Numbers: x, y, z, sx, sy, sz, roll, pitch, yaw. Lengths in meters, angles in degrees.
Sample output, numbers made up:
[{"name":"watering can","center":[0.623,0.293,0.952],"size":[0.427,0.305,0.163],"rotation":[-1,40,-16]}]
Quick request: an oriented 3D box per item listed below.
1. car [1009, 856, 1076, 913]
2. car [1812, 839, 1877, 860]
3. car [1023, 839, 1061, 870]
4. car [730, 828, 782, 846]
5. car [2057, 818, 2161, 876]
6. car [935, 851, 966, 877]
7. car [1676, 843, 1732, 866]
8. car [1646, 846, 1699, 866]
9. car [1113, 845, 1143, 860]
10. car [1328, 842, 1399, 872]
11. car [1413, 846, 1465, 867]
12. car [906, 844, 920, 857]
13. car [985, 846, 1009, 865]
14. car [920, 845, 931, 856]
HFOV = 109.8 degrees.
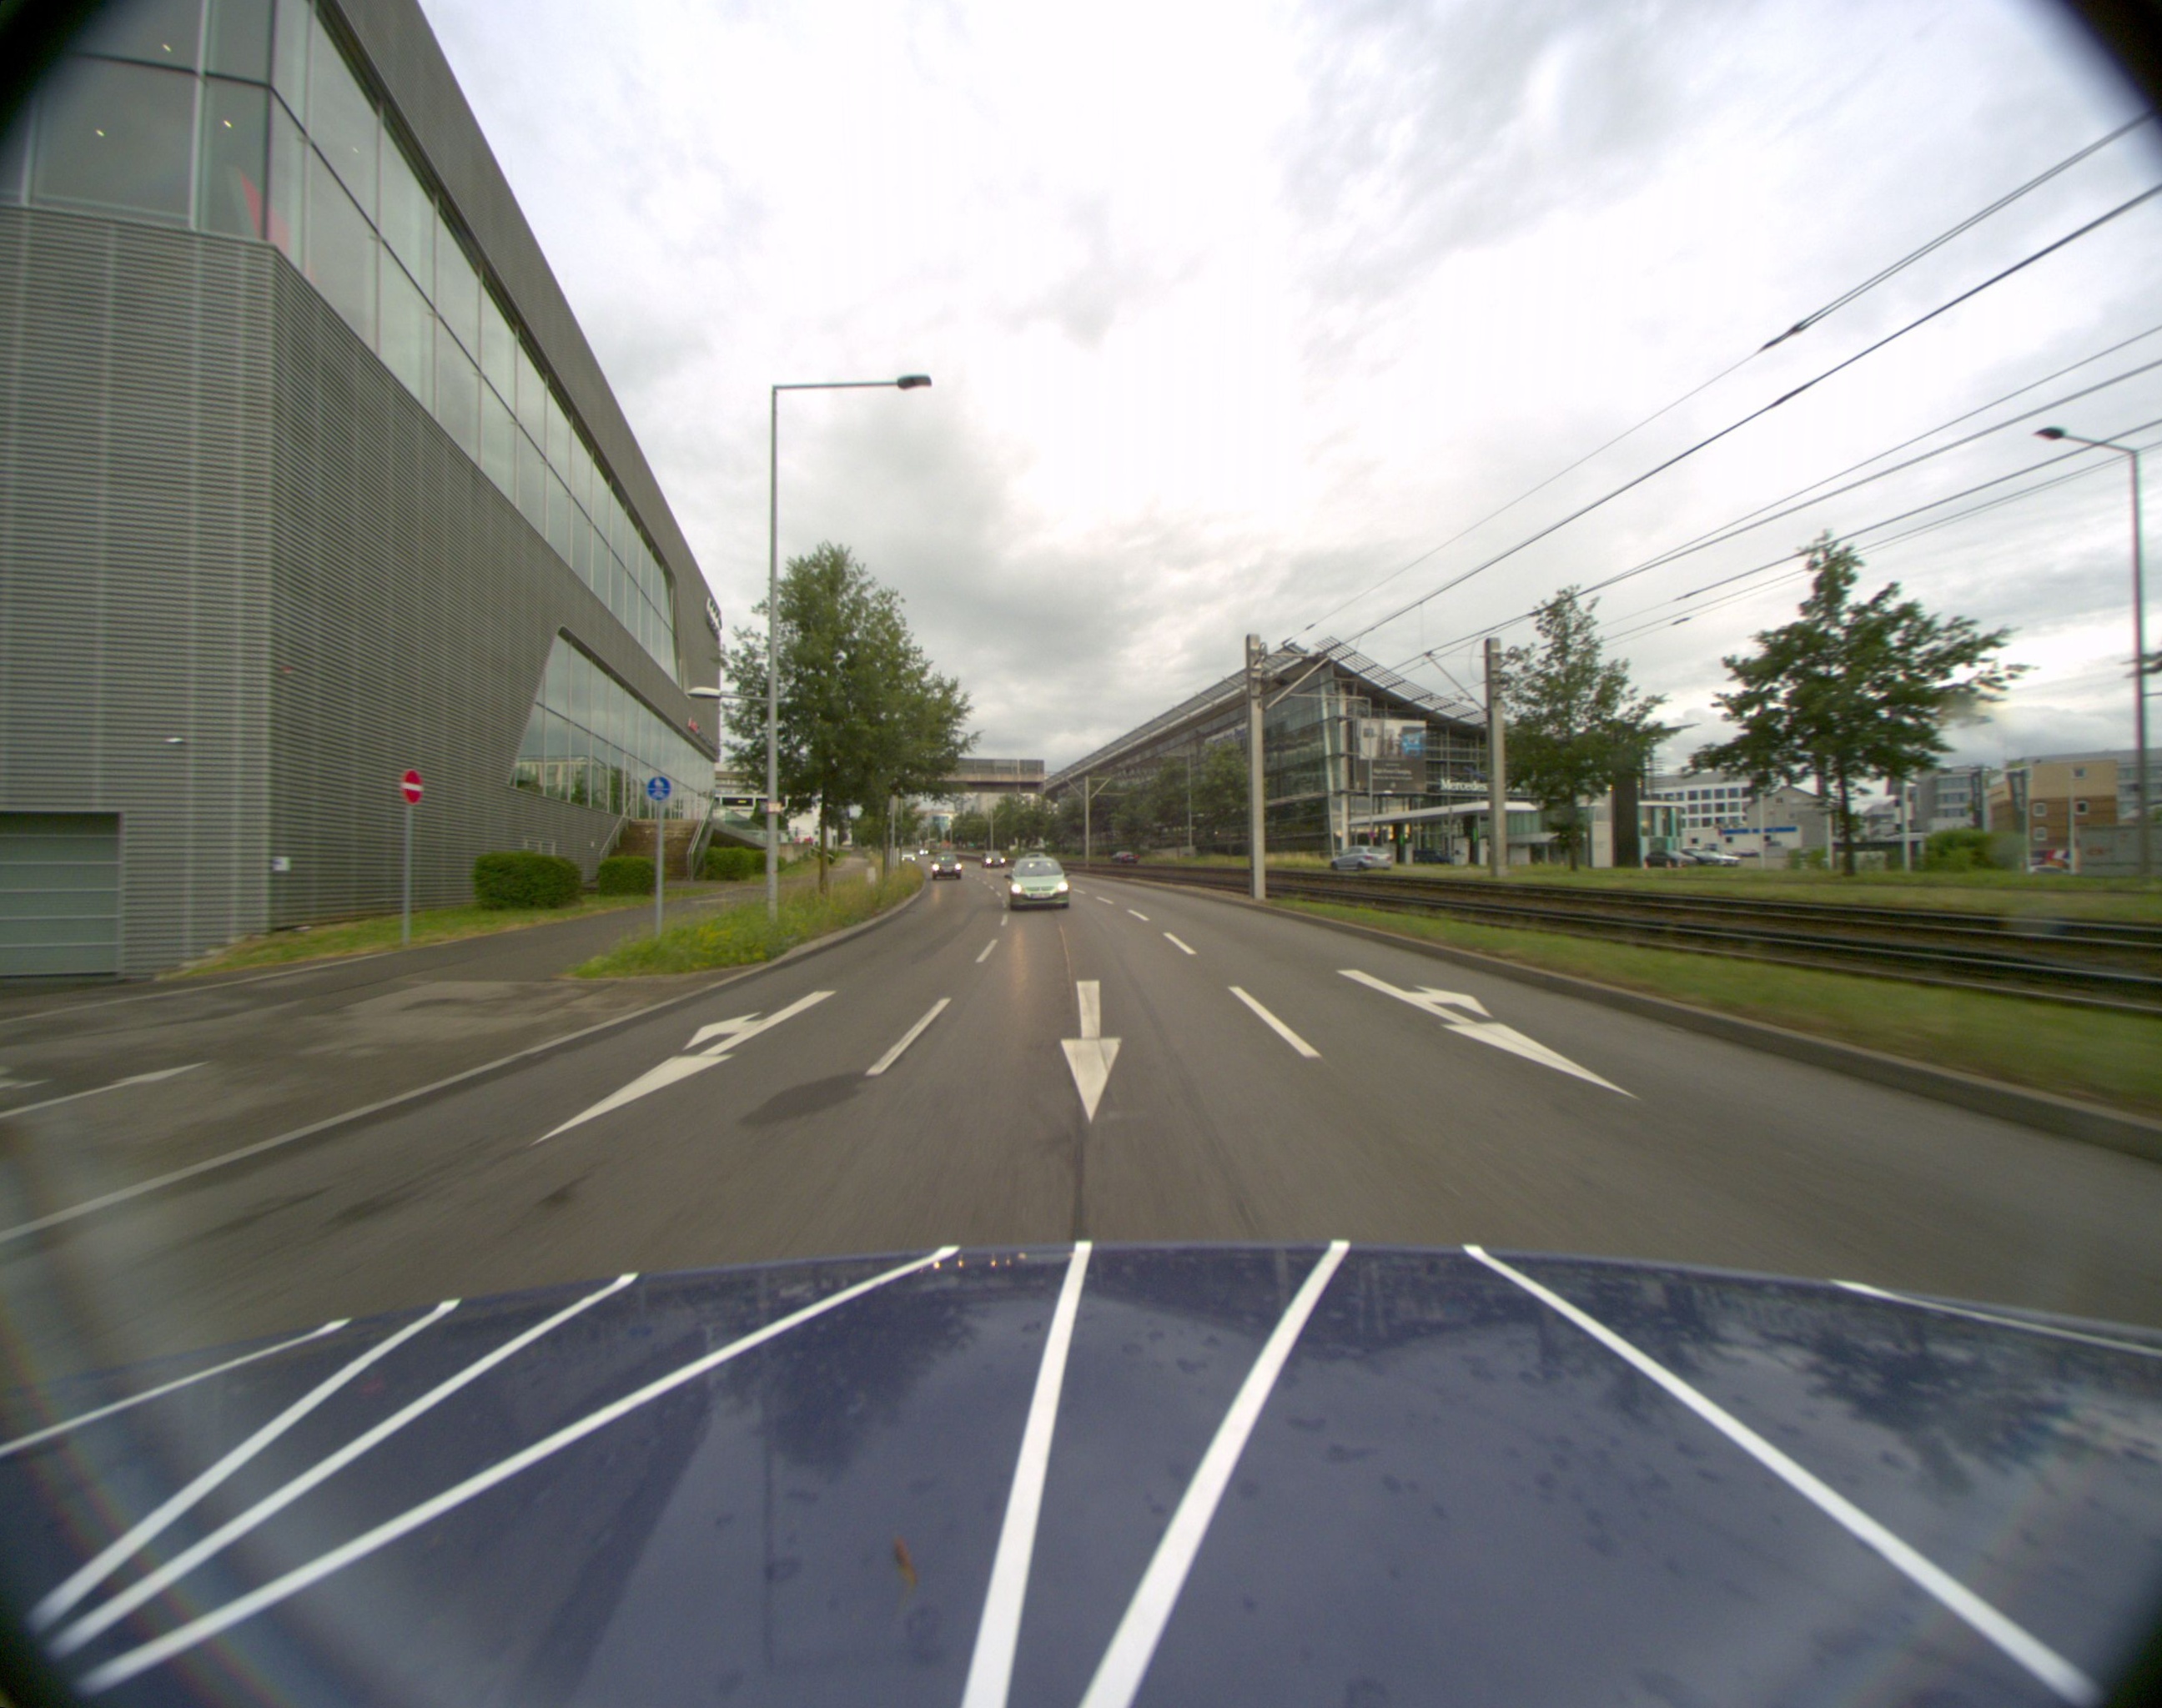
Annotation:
[{"name":"car","center":[-1.252,0.852,23.362],"size":[1.829,1.499,4.111],"rotation":[-2,1,-5]},{"name":"car","center":[67.014,-0.441,66.710],"size":[2.003,1.718,3.988],"rotation":[-5,4,-43]},{"name":"car","center":[-2.864,-0.003,54.714],"size":[2.001,2.003,3.994],"rotation":[-3,3,-13]},{"name":"car","center":[-30.330,-1.600,70.952],"size":[4.276,1.565,1.690],"rotation":[-2,1,-17]},{"name":"car","center":[32.435,-0.218,22.407],"size":[2.000,1.641,3.994],"rotation":[-2,2,-11]},{"name":"car","center":[-8.451,0.640,49.511],"size":[1.830,1.599,4.111],"rotation":[-2,0,-9]},{"name":"car","center":[57.625,0.014,70.330],"size":[1.907,2.003,3.743],"rotation":[-2,3,-4]},{"name":"car","center":[54.351,0.151,69.916],"size":[1.782,1.701,3.745],"rotation":[-2,2,-4]},{"name":"car","center":[4.987,-0.190,80.593],"size":[1.890,1.512,4.397],"rotation":[2,0,-14]},{"name":"car","center":[16.633,0.159,44.954],"size":[2.001,1.670,3.994],"rotation":[-2,1,-15]},{"name":"car","center":[34.030,0.170,72.264],"size":[1.898,1.840,3.988],"rotation":[-4,3,-43]},{"name":"car","center":[-25.167,-0.535,113.819],"size":[1.863,1.799,4.109],"rotation":[-2,0,-14]},{"name":"car","center":[-8.377,0.193,75.634],"size":[1.863,1.799,4.109],"rotation":[-2,0,-14]},{"name":"car","center":[-33.111,-0.782,161.505],"size":[2.001,2.003,3.993],"rotation":[-2,3,-15]}]
